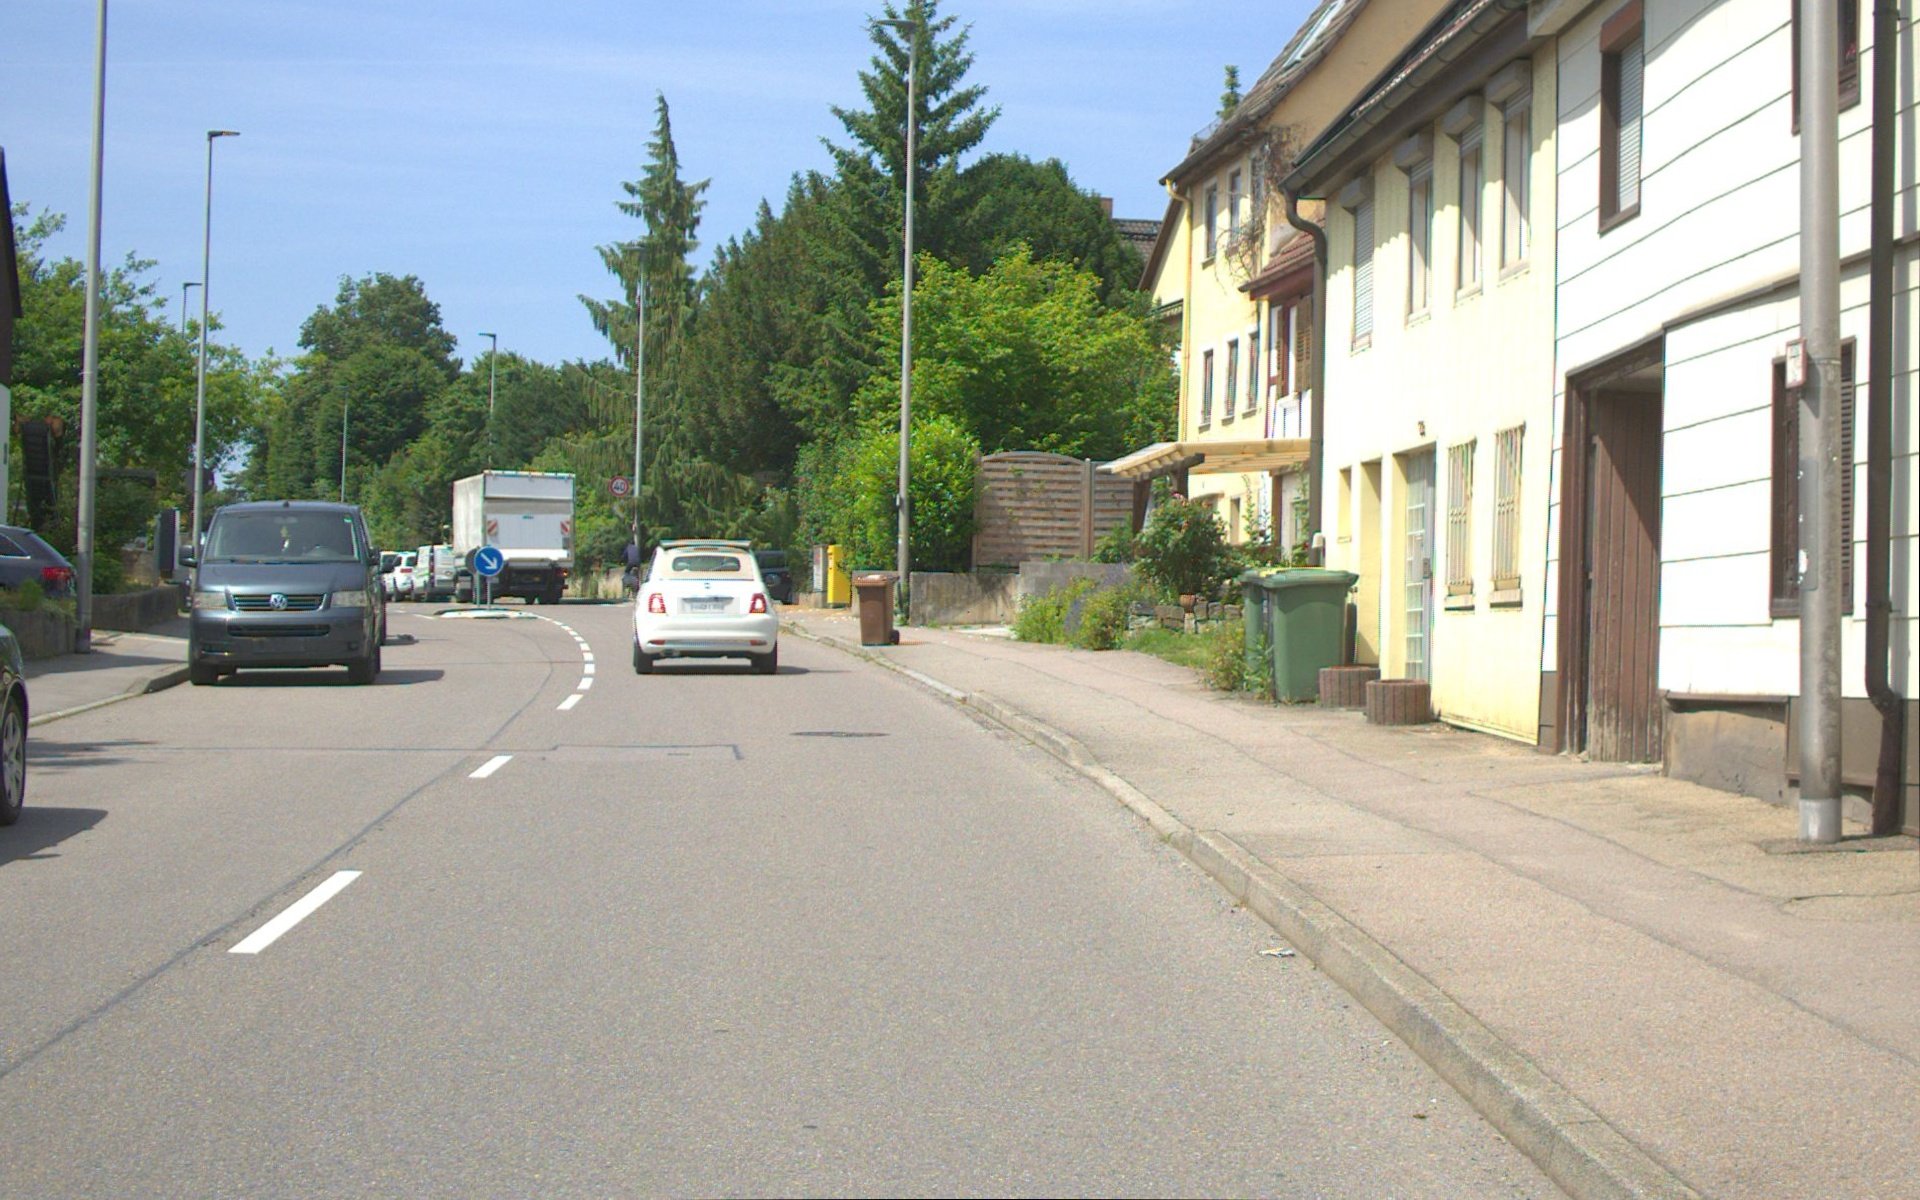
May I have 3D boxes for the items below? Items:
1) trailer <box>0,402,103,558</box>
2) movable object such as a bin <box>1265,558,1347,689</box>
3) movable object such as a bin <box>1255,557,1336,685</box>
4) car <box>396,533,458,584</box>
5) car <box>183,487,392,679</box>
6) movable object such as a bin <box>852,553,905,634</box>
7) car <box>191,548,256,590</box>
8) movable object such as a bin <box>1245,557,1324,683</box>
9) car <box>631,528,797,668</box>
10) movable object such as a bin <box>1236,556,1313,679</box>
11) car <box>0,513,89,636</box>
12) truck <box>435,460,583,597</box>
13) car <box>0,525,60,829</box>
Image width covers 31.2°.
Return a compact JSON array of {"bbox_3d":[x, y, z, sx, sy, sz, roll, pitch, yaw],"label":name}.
[{"bbox_3d":[-17.621,-2.253,66.412,1.711,2.839,6.176,1,1,-11],"label":"trailer"},{"bbox_3d":[2.821,0.184,28.060,0.546,1.030,0.551,-2,1,-4],"label":"movable object such as a bin"},{"bbox_3d":[2.794,0.171,28.637,0.546,1.030,0.551,-2,1,-4],"label":"movable object such as a bin"},{"bbox_3d":[-18.878,-1.481,121.689,1.534,1.664,4.001,2,1,-18],"label":"car"},{"bbox_3d":[-7.251,-0.209,37.473,1.890,1.931,4.987,-1,1,-7],"label":"car"},{"bbox_3d":[-1.080,-0.086,45.772,0.494,1.030,0.548,-3,1,17],"label":"movable object such as a bin"},{"bbox_3d":[-24.771,-1.034,115.525,1.804,1.393,4.001,0,1,-17],"label":"car"},{"bbox_3d":[2.755,0.161,29.213,0.546,1.030,0.551,-2,1,-4],"label":"movable object such as a bin"},{"bbox_3d":[-2.843,-0.054,40.406,1.725,1.555,4.000,0,1,-1],"label":"car"},{"bbox_3d":[2.726,0.146,29.809,0.546,1.030,0.551,-2,1,-4],"label":"movable object such as a bin"},{"bbox_3d":[-12.925,-0.442,42.095,4.227,1.400,1.822,4,0,-12],"label":"car"},{"bbox_3d":[-12.931,-1.978,98.110,3.067,3.761,7.870,0,0,-16],"label":"truck"},{"bbox_3d":[-5.494,0.404,15.690,1.819,1.468,4.777,0,2,-4],"label":"car"}]
